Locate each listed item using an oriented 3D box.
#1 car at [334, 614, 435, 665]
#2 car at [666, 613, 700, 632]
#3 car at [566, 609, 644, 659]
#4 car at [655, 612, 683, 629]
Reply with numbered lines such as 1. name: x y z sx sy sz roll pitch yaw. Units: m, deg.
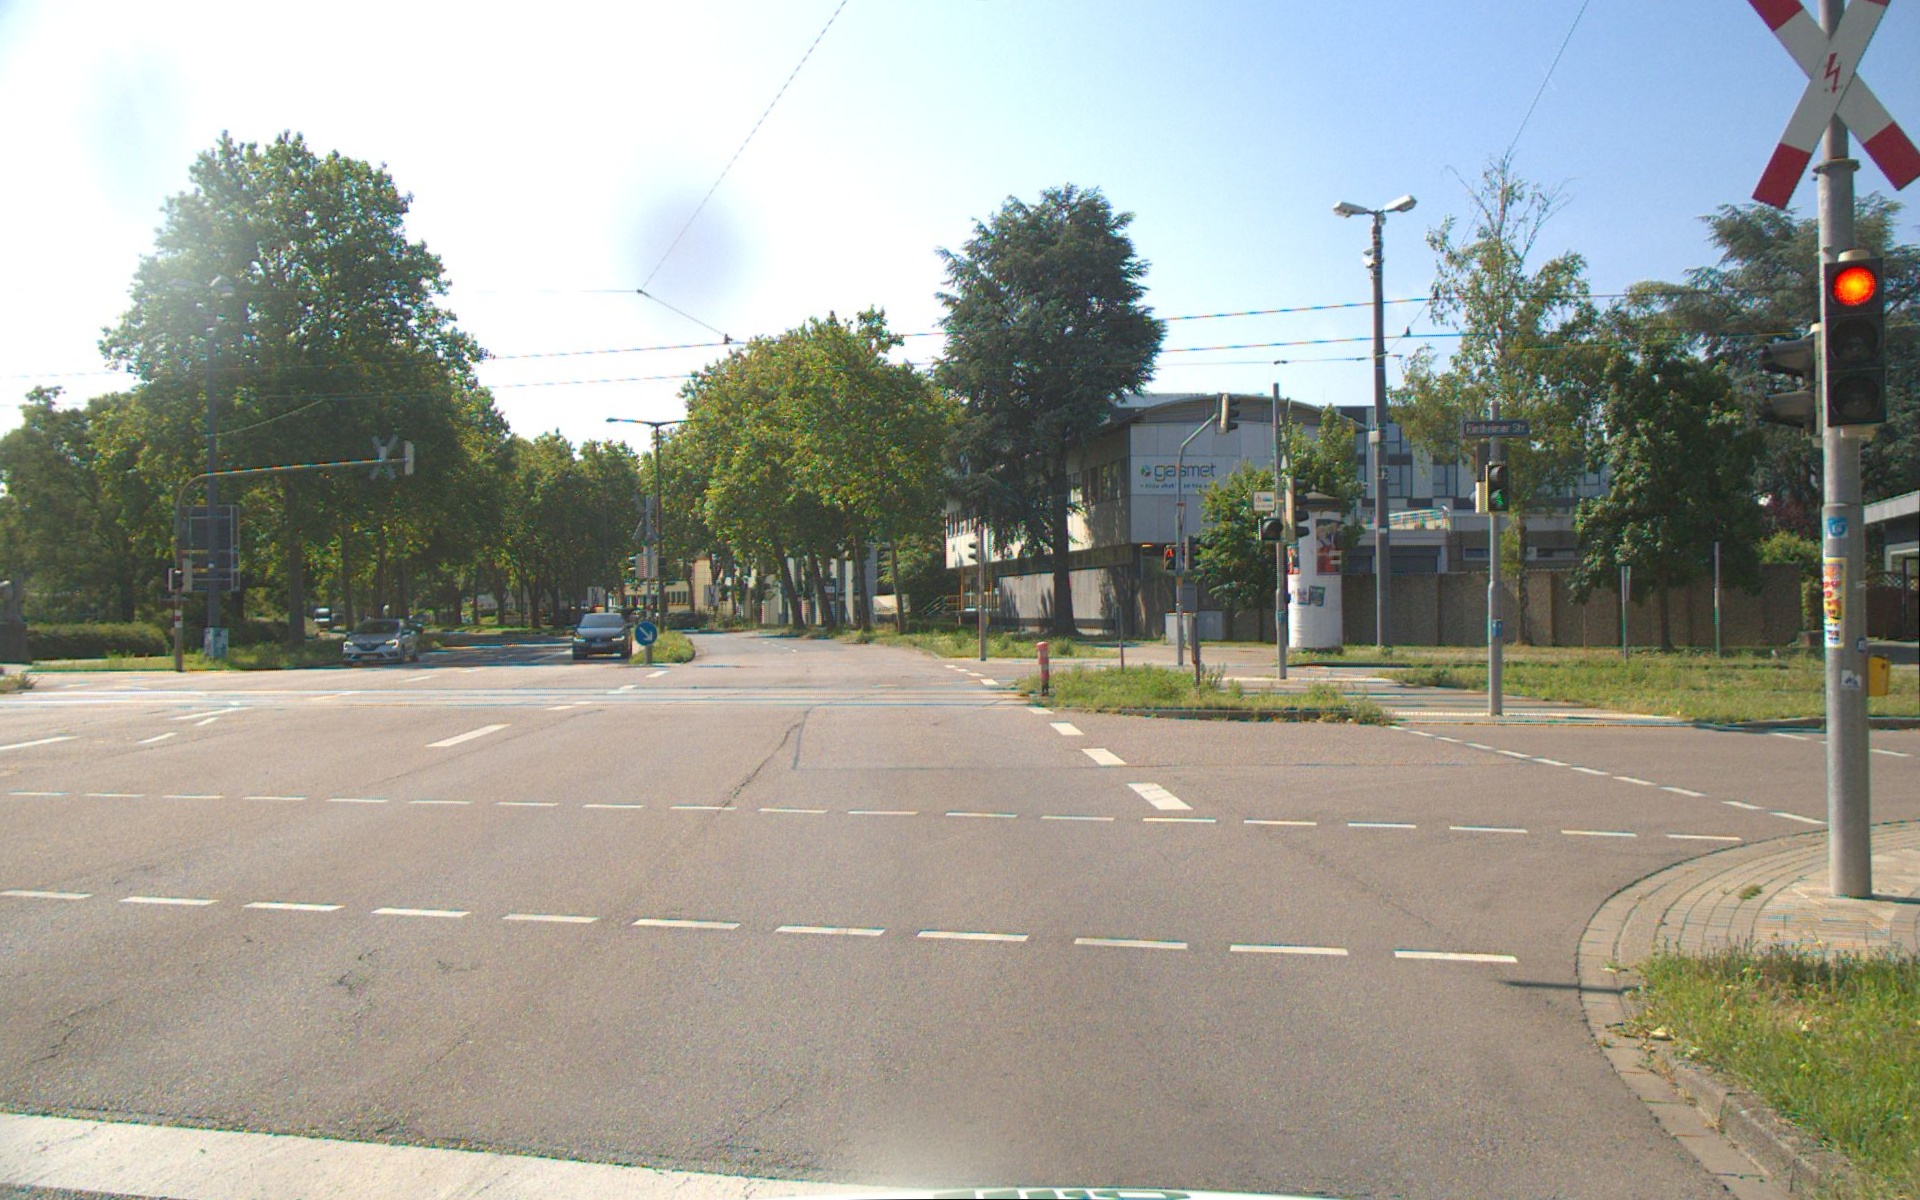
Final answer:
1. car: -18.531 1.247 53.496 1.659 1.534 4.660 -1 0 -1
2. car: -23.960 1.950 143.045 1.685 1.513 4.681 -2 0 -25
3. car: -11.433 1.065 53.464 1.659 1.534 4.128 -1 0 -1
4. car: -26.069 1.822 148.099 1.682 1.514 4.075 -1 0 -21
